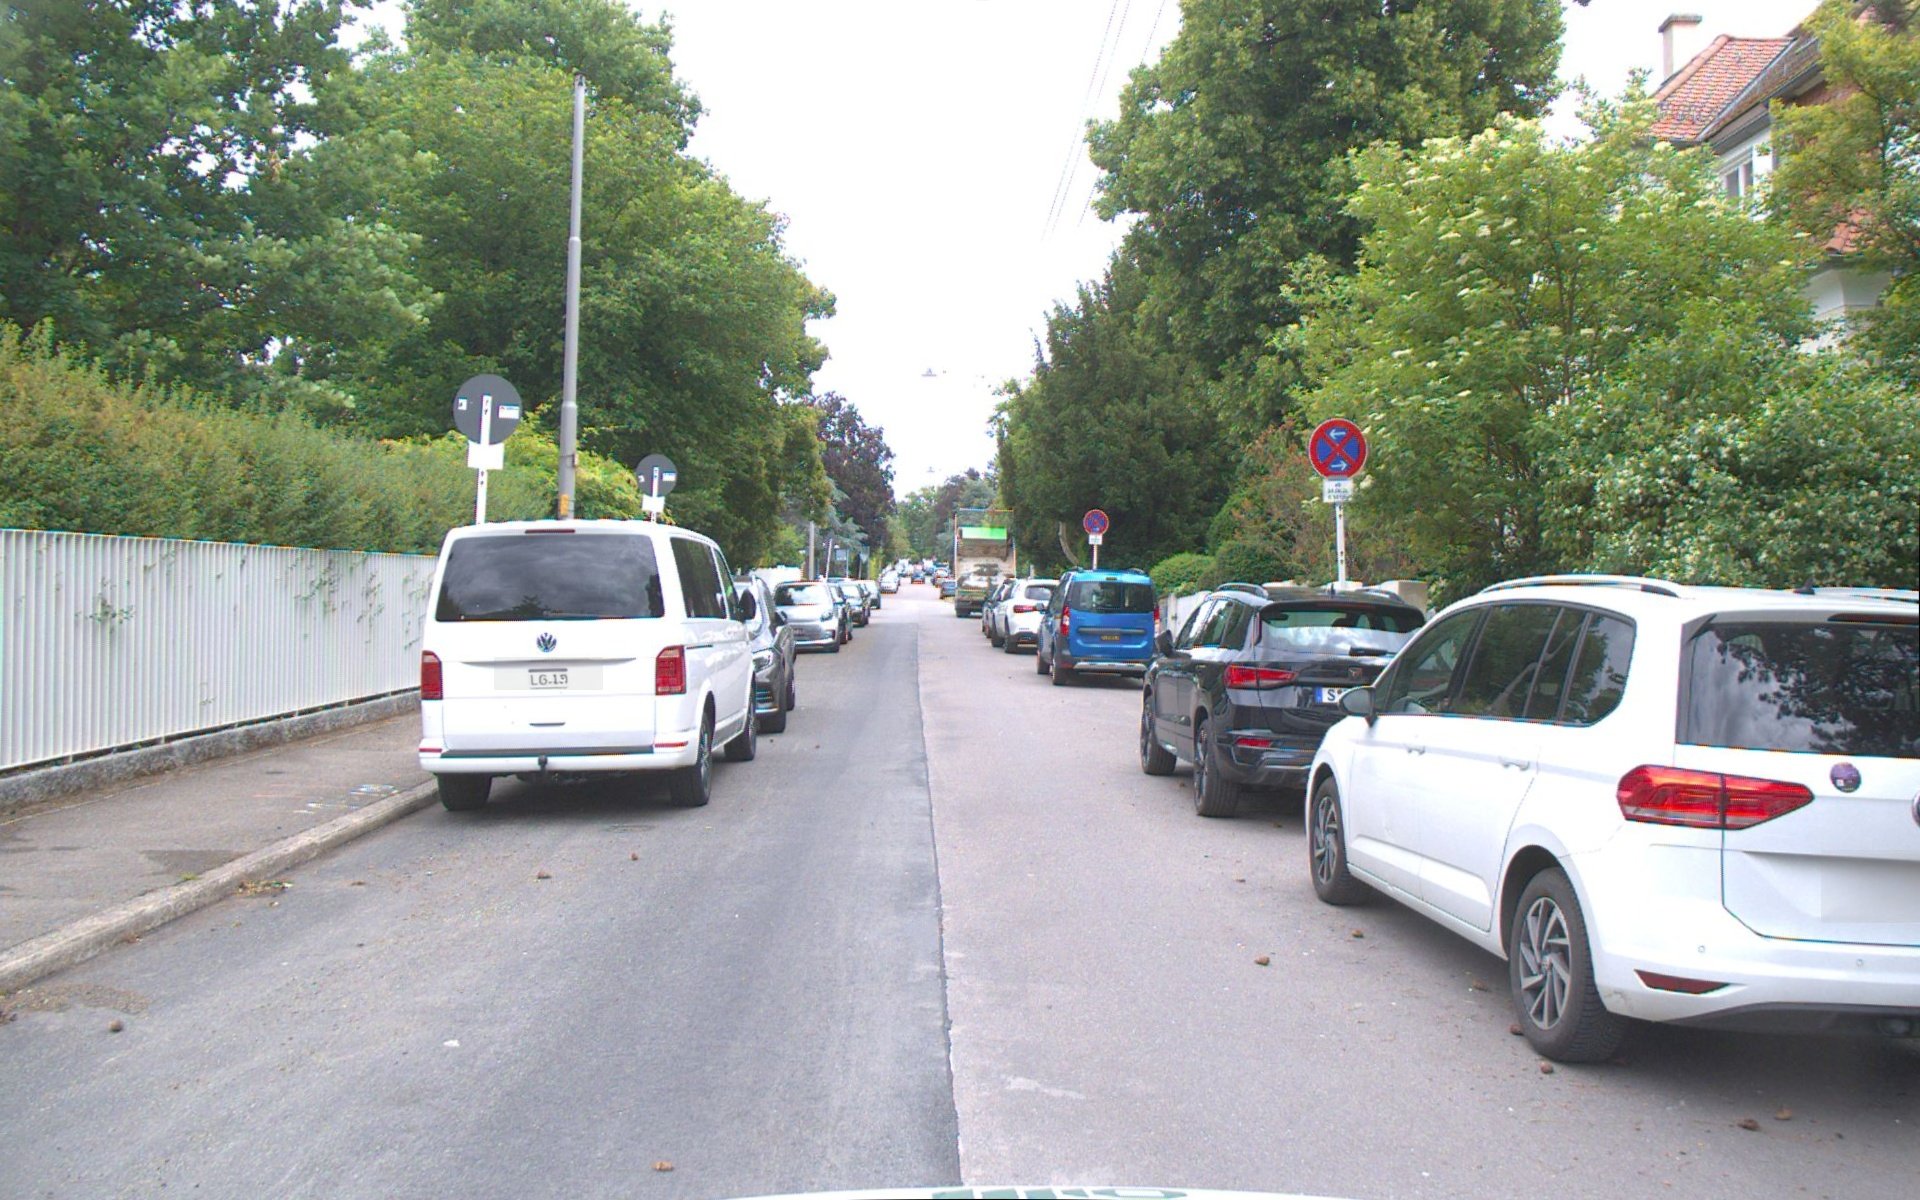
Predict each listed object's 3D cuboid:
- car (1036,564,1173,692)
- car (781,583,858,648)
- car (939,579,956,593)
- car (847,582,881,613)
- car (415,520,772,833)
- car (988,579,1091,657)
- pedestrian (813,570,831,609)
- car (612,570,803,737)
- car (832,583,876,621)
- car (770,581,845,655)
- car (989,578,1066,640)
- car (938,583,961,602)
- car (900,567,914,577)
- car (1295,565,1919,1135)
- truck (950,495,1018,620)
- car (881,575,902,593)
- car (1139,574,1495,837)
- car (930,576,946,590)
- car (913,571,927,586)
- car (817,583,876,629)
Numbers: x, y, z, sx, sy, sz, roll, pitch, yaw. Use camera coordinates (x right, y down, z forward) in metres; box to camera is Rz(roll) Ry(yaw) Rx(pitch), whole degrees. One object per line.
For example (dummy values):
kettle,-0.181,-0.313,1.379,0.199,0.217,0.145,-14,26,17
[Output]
car,2.303,0.396,27.292,1.649,1.861,4.155,3,1,-2
car,-3.503,0.346,41.773,1.621,1.507,3.887,-2,1,-1
car,-1.399,-1.576,182.224,1.774,1.359,3.631,3,2,-3
car,-4.739,-0.143,81.906,1.604,1.419,3.987,-1,1,-3
car,-2.598,0.486,12.869,1.817,1.947,4.618,-1,0,-1
car,1.770,0.366,38.204,1.723,1.634,4.570,2,0,-5
pedestrian,-7.372,-0.566,88.093,0.836,2.049,0.700,3,0,-7
car,-2.728,0.513,18.709,1.755,1.651,4.340,0,1,-4
car,-4.258,0.044,66.693,1.563,1.458,3.999,-1,1,-1
car,-3.417,0.379,37.265,1.590,1.560,2.960,-1,1,-5
car,1.781,0.214,44.767,1.664,1.598,4.306,1,0,-3
car,-0.911,-0.647,138.405,1.743,1.515,3.998,1,0,-3
car,-7.705,-4.006,239.126,1.692,1.432,3.805,1,0,2
car,2.860,0.748,7.006,1.749,1.631,4.302,3,0,-3
truck,0.920,-1.710,68.652,2.473,4.831,7.186,2,0,-1
car,-6.530,-1.510,158.269,1.676,1.613,4.001,1,0,1
car,2.564,0.698,12.878,1.715,1.636,4.074,3,0,-2
car,-2.555,-1.920,191.693,1.753,1.556,3.734,1,1,0
car,-4.790,-2.563,199.548,1.601,1.731,3.493,2,1,-2
car,-3.744,0.176,55.148,1.607,1.447,4.550,-1,1,0
